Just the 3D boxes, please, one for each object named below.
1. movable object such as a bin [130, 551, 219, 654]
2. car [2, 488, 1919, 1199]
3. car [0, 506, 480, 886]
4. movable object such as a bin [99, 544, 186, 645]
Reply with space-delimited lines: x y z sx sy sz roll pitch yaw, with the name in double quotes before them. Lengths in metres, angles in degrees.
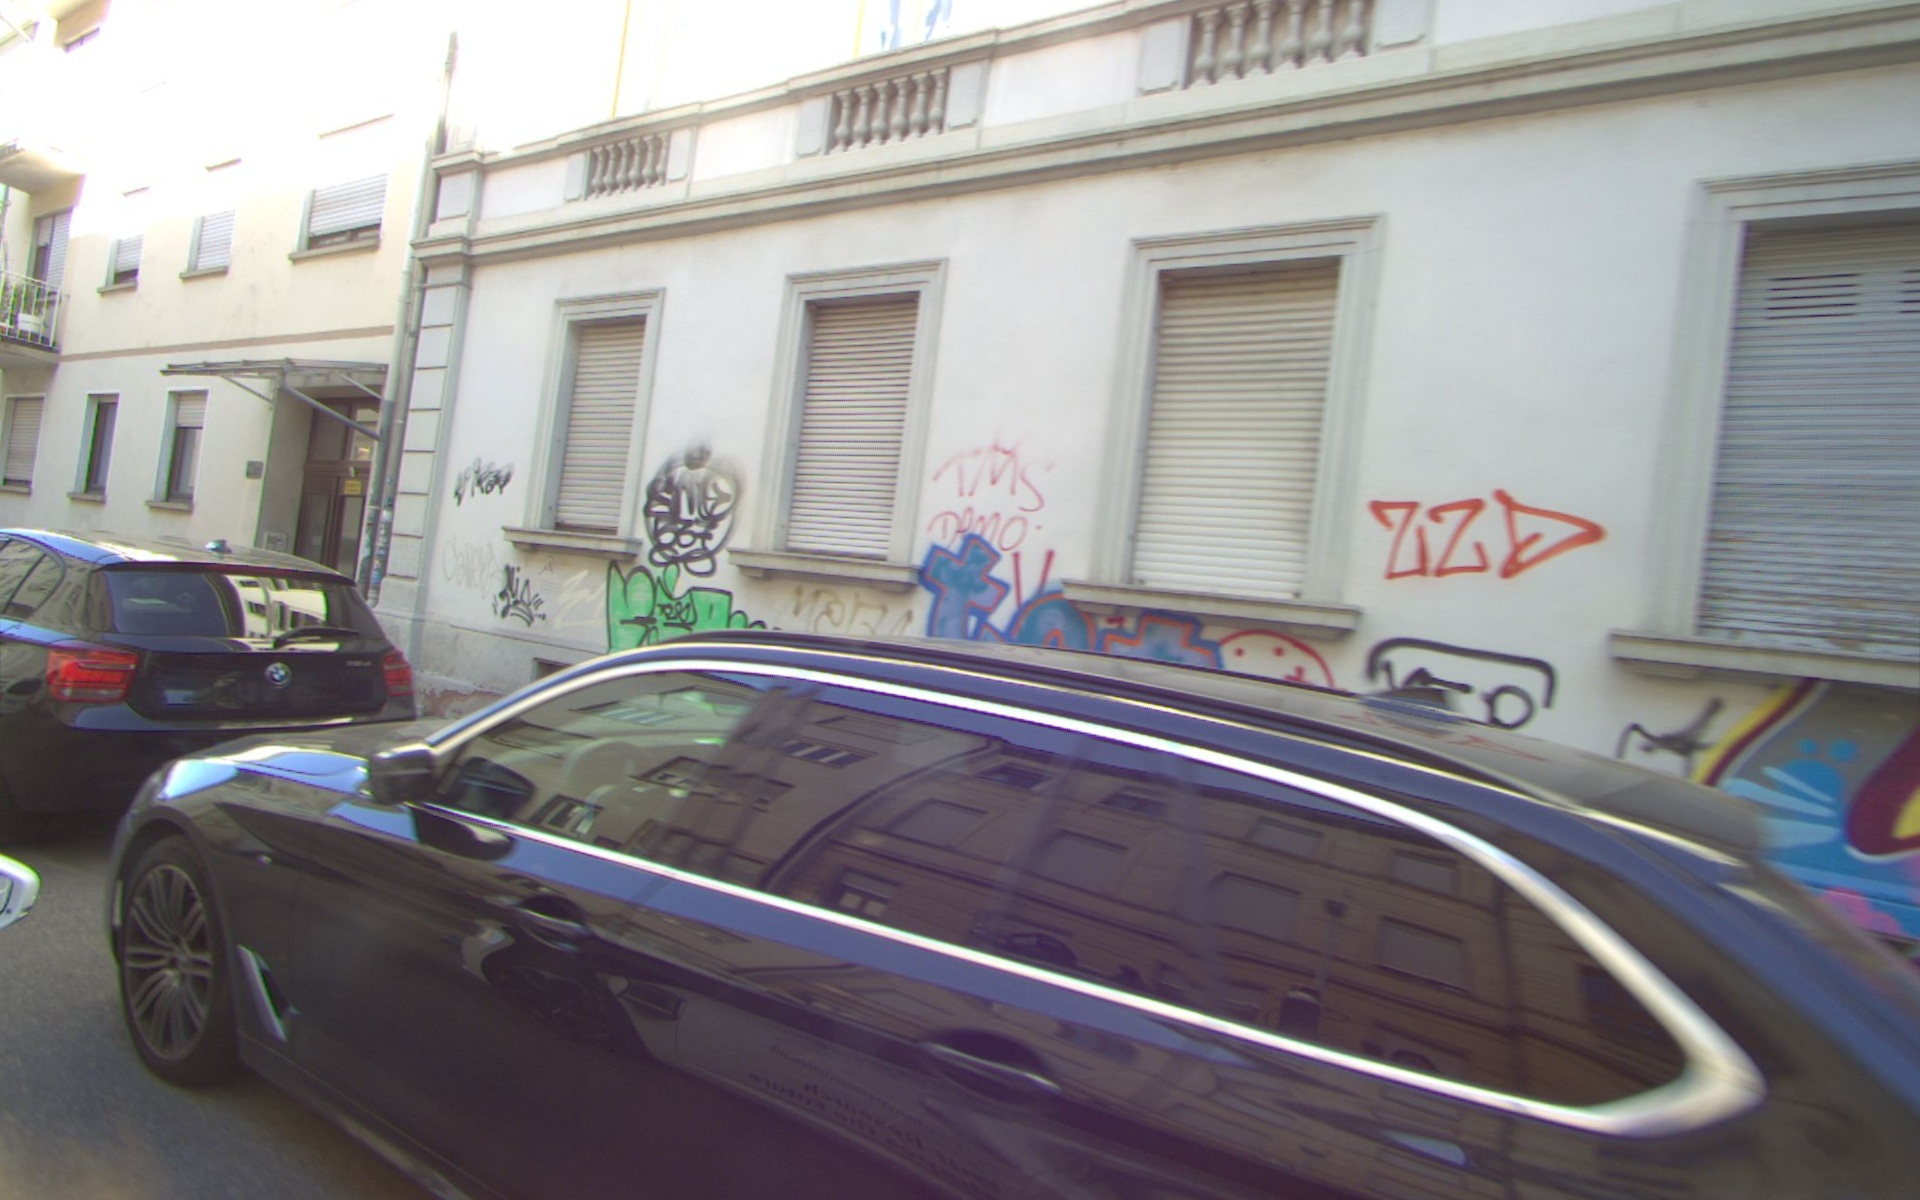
"movable object such as a bin" -8.990 0.031 11.512 0.544 1.084 0.577 6 0 35
"car" -0.426 0.768 2.675 4.649 1.536 1.820 7 -4 32
"car" -4.770 0.324 5.727 3.805 1.464 1.752 7 -4 32
"movable object such as a bin" -9.582 -0.060 11.799 0.544 1.084 0.577 6 0 35
